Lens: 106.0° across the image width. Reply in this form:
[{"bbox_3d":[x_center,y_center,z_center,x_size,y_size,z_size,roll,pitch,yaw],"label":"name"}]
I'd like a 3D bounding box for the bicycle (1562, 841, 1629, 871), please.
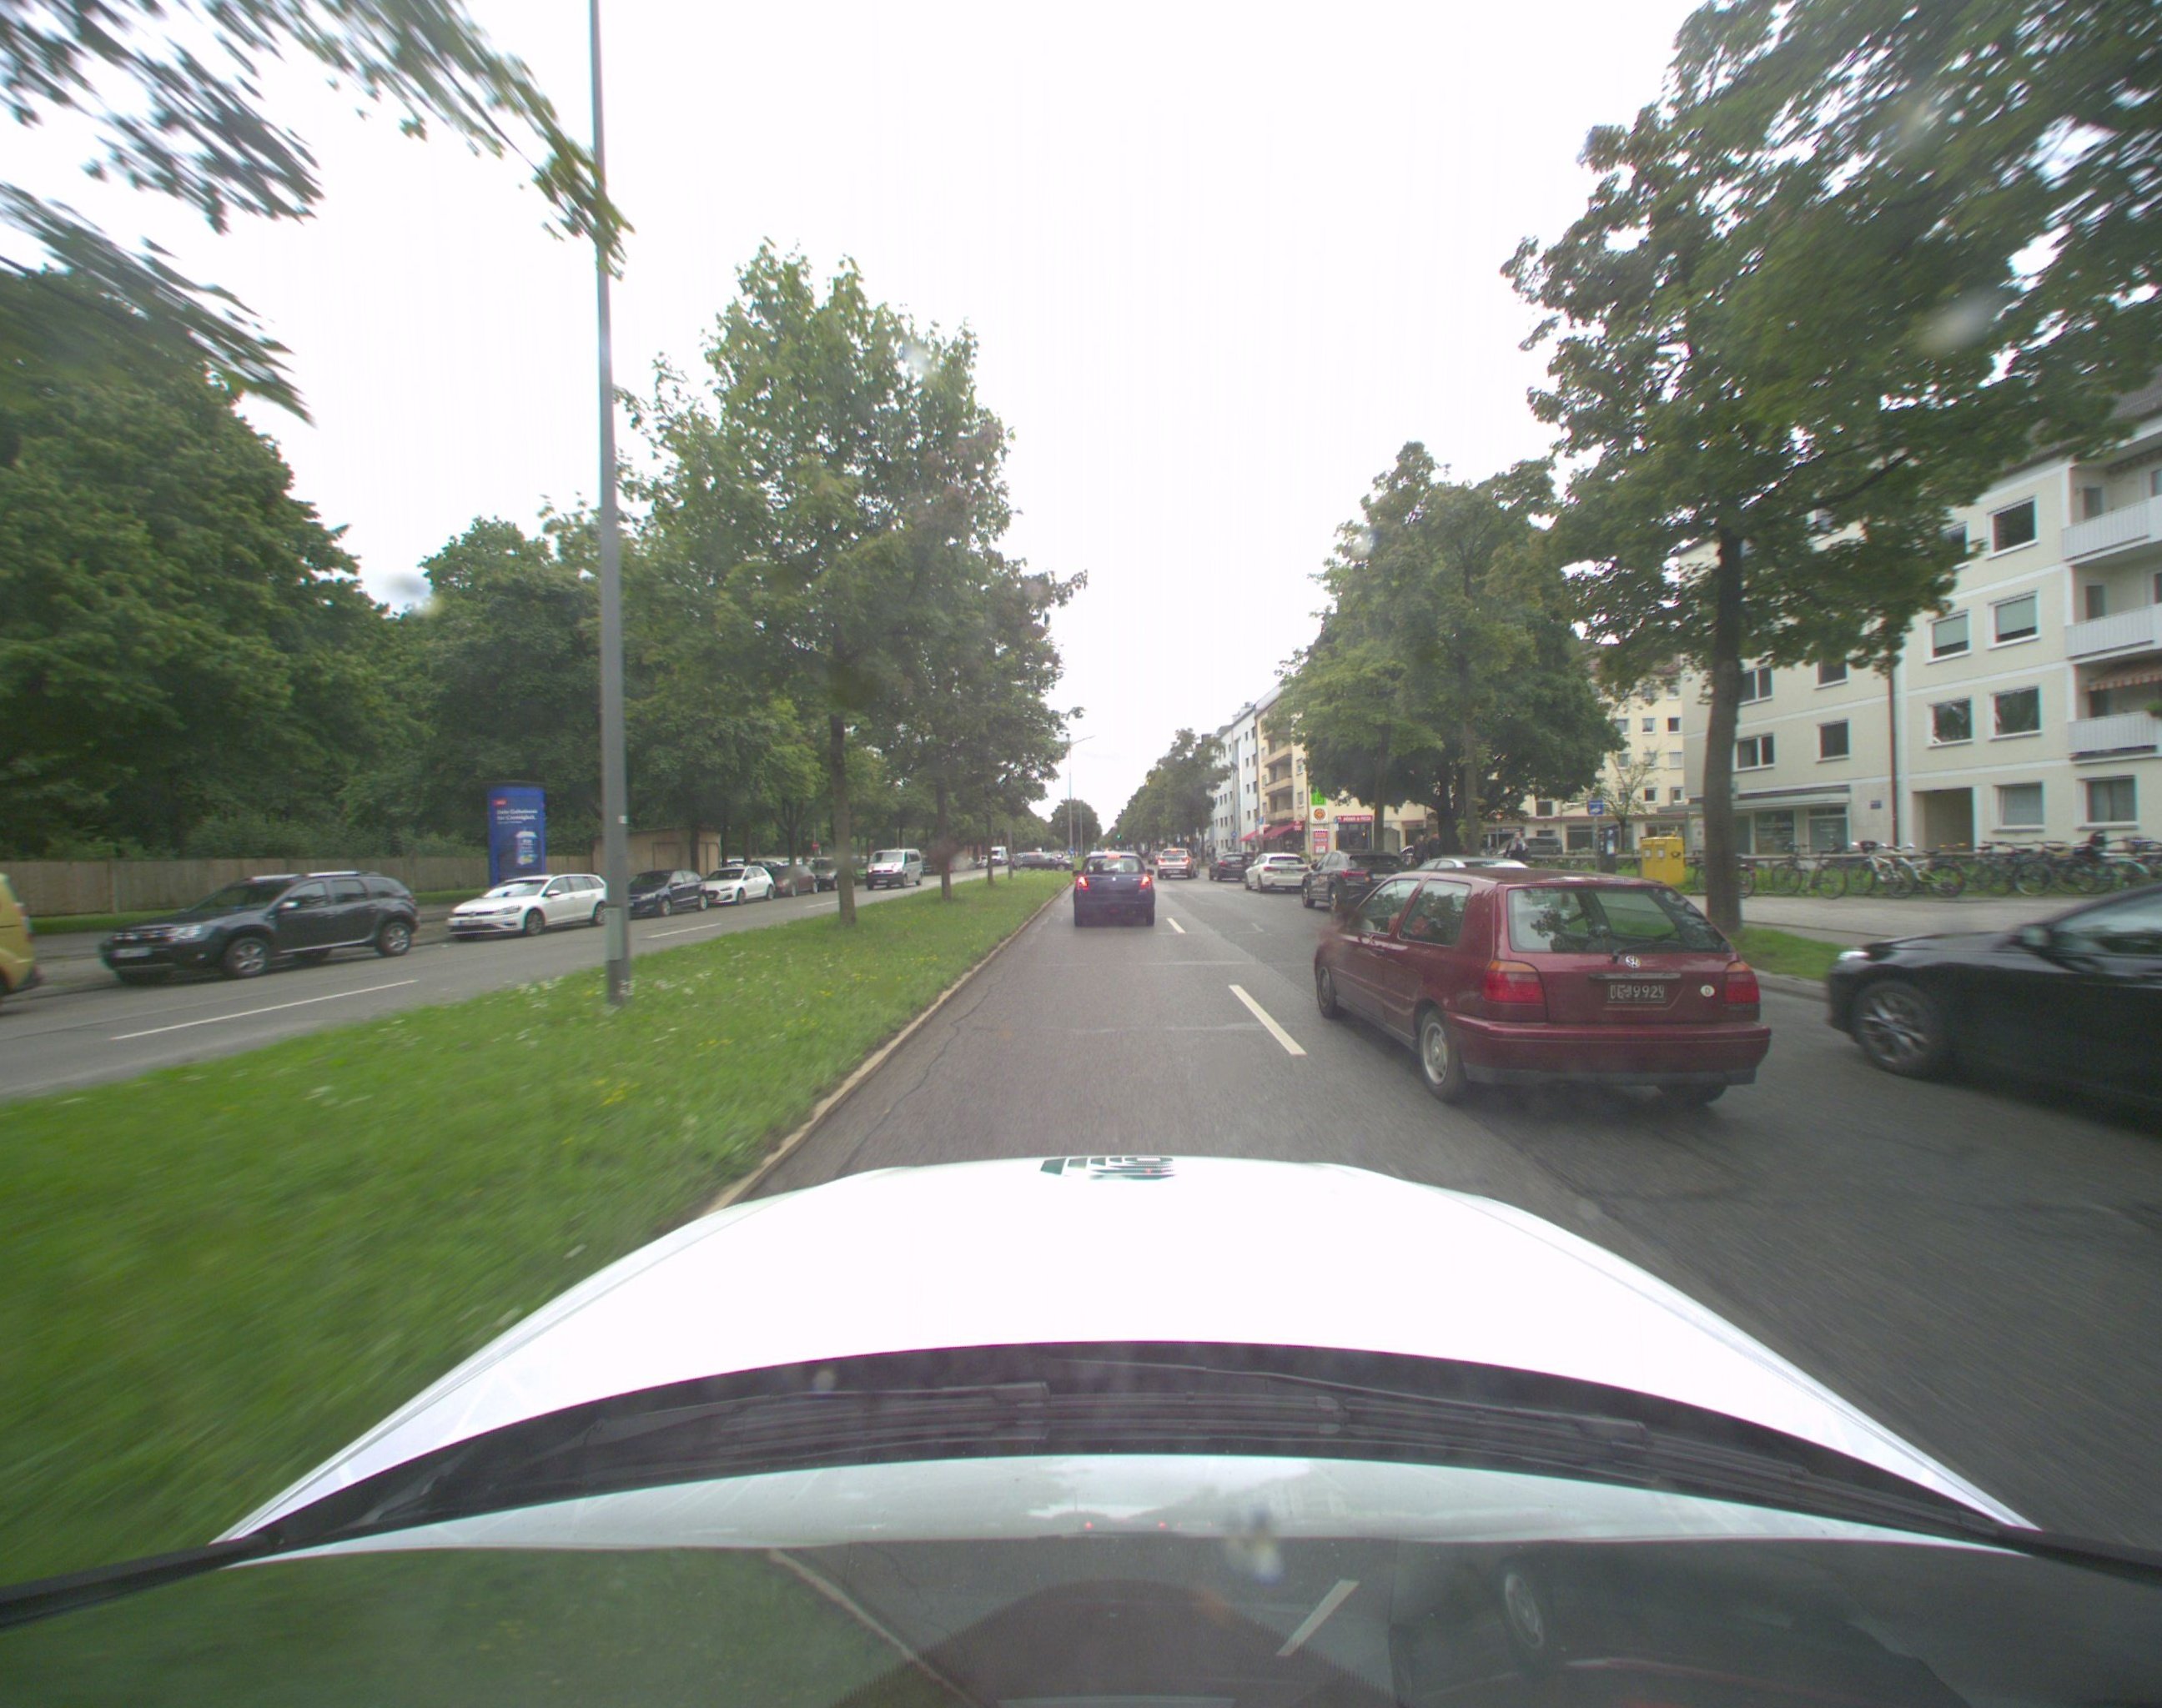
[{"bbox_3d":[16.817,0.074,26.629,1.869,0.973,0.433,0,0,3],"label":"bicycle"}]

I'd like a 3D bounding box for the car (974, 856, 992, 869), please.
[{"bbox_3d":[-11.510,0.991,95.679,1.627,1.431,3.879,0,0,1],"label":"car"}]

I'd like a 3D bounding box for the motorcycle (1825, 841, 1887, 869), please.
[{"bbox_3d":[29.179,0.046,30.698,0.601,1.023,1.908,0,0,2],"label":"motorcycle"}]

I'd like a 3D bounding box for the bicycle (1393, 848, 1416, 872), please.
[{"bbox_3d":[15.143,0.278,38.146,0.387,1.105,1.855,0,0,2],"label":"bicycle"}]

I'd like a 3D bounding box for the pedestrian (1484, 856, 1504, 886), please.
[{"bbox_3d":[13.711,0.560,27.041,0.406,0.949,0.435,-2,0,0],"label":"pedestrian"}]

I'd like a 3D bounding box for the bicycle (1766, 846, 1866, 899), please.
[{"bbox_3d":[15.299,0.354,17.007,0.429,1.028,1.885,-2,0,3],"label":"bicycle"}]

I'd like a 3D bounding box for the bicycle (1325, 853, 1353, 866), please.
[{"bbox_3d":[18.933,0.385,59.768,1.841,0.957,0.557,0,0,0],"label":"bicycle"}]

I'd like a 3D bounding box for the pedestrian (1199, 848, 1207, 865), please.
[{"bbox_3d":[14.759,0.303,98.836,0.791,2.013,1.006,-1,0,2],"label":"pedestrian"}]

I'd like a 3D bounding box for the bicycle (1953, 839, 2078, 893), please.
[{"bbox_3d":[18.930,0.218,16.562,0.429,1.028,1.885,-2,0,3],"label":"bicycle"}]

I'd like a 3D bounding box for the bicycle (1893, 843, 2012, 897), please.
[{"bbox_3d":[17.687,0.303,16.591,0.429,1.028,1.885,-2,0,3],"label":"bicycle"}]

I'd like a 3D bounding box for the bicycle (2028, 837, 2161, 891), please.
[{"bbox_3d":[20.626,0.191,16.633,0.429,1.028,1.885,-2,0,3],"label":"bicycle"}]

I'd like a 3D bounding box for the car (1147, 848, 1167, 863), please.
[{"bbox_3d":[8.785,0.178,94.229,1.859,1.682,4.224,-2,0,0],"label":"car"}]

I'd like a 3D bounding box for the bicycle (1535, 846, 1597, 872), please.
[{"bbox_3d":[17.466,0.183,29.331,1.869,0.940,0.558,0,0,3],"label":"bicycle"}]

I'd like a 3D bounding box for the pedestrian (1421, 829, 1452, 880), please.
[{"bbox_3d":[13.616,0.031,31.177,0.727,1.890,0.919,-2,0,0],"label":"pedestrian"}]

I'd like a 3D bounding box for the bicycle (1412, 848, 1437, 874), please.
[{"bbox_3d":[15.087,0.292,35.838,0.380,1.103,1.885,0,0,2],"label":"bicycle"}]

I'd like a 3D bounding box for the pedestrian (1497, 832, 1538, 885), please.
[{"bbox_3d":[14.341,0.151,26.767,0.836,1.681,0.835,-2,0,0],"label":"pedestrian"}]

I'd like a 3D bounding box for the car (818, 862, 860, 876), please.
[{"bbox_3d":[-24.857,1.532,83.678,3.858,1.445,1.670,0,0,-4],"label":"car"}]

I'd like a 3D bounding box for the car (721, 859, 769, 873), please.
[{"bbox_3d":[-36.899,1.327,89.485,4.489,1.476,1.673,0,-1,2],"label":"car"}]

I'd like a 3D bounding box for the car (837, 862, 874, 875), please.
[{"bbox_3d":[-25.778,1.659,93.110,3.858,1.445,1.670,0,0,-4],"label":"car"}]

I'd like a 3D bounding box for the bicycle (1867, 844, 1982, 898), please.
[{"bbox_3d":[17.140,0.322,16.614,0.429,1.028,1.885,-2,0,3],"label":"bicycle"}]

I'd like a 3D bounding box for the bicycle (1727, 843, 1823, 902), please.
[{"bbox_3d":[14.377,0.353,16.942,0.429,1.133,1.885,-2,1,3],"label":"bicycle"}]

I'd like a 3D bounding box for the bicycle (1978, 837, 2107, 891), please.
[{"bbox_3d":[19.412,0.184,16.510,0.429,1.028,1.885,-2,0,3],"label":"bicycle"}]

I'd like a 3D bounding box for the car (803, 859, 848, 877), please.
[{"bbox_3d":[-25.322,1.388,80.735,3.911,1.718,1.670,0,0,-4],"label":"car"}]

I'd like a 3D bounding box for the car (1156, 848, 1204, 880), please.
[{"bbox_3d":[5.519,0.501,44.891,1.851,1.661,4.427,0,0,17],"label":"car"}]

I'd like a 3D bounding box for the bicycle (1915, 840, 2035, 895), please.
[{"bbox_3d":[18.168,0.255,16.612,0.429,1.028,1.885,-2,0,3],"label":"bicycle"}]

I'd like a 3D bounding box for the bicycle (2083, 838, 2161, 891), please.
[{"bbox_3d":[21.542,0.198,16.398,0.429,1.028,1.885,-2,0,3],"label":"bicycle"}]

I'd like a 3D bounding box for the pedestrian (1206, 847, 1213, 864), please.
[{"bbox_3d":[15.583,0.143,98.750,0.791,2.013,1.006,-1,0,2],"label":"pedestrian"}]

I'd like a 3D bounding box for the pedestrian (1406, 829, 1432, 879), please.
[{"bbox_3d":[12.933,-0.006,31.189,0.586,1.890,0.902,-2,0,0],"label":"pedestrian"}]

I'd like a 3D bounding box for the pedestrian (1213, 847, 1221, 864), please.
[{"bbox_3d":[16.463,0.136,98.864,0.791,2.013,1.006,-1,0,2],"label":"pedestrian"}]

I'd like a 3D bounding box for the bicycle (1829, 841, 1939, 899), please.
[{"bbox_3d":[16.431,0.299,16.723,0.429,1.101,1.885,-2,0,3],"label":"bicycle"}]

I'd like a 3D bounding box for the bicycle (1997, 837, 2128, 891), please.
[{"bbox_3d":[19.907,0.185,16.586,0.429,1.028,1.885,-2,0,3],"label":"bicycle"}]
